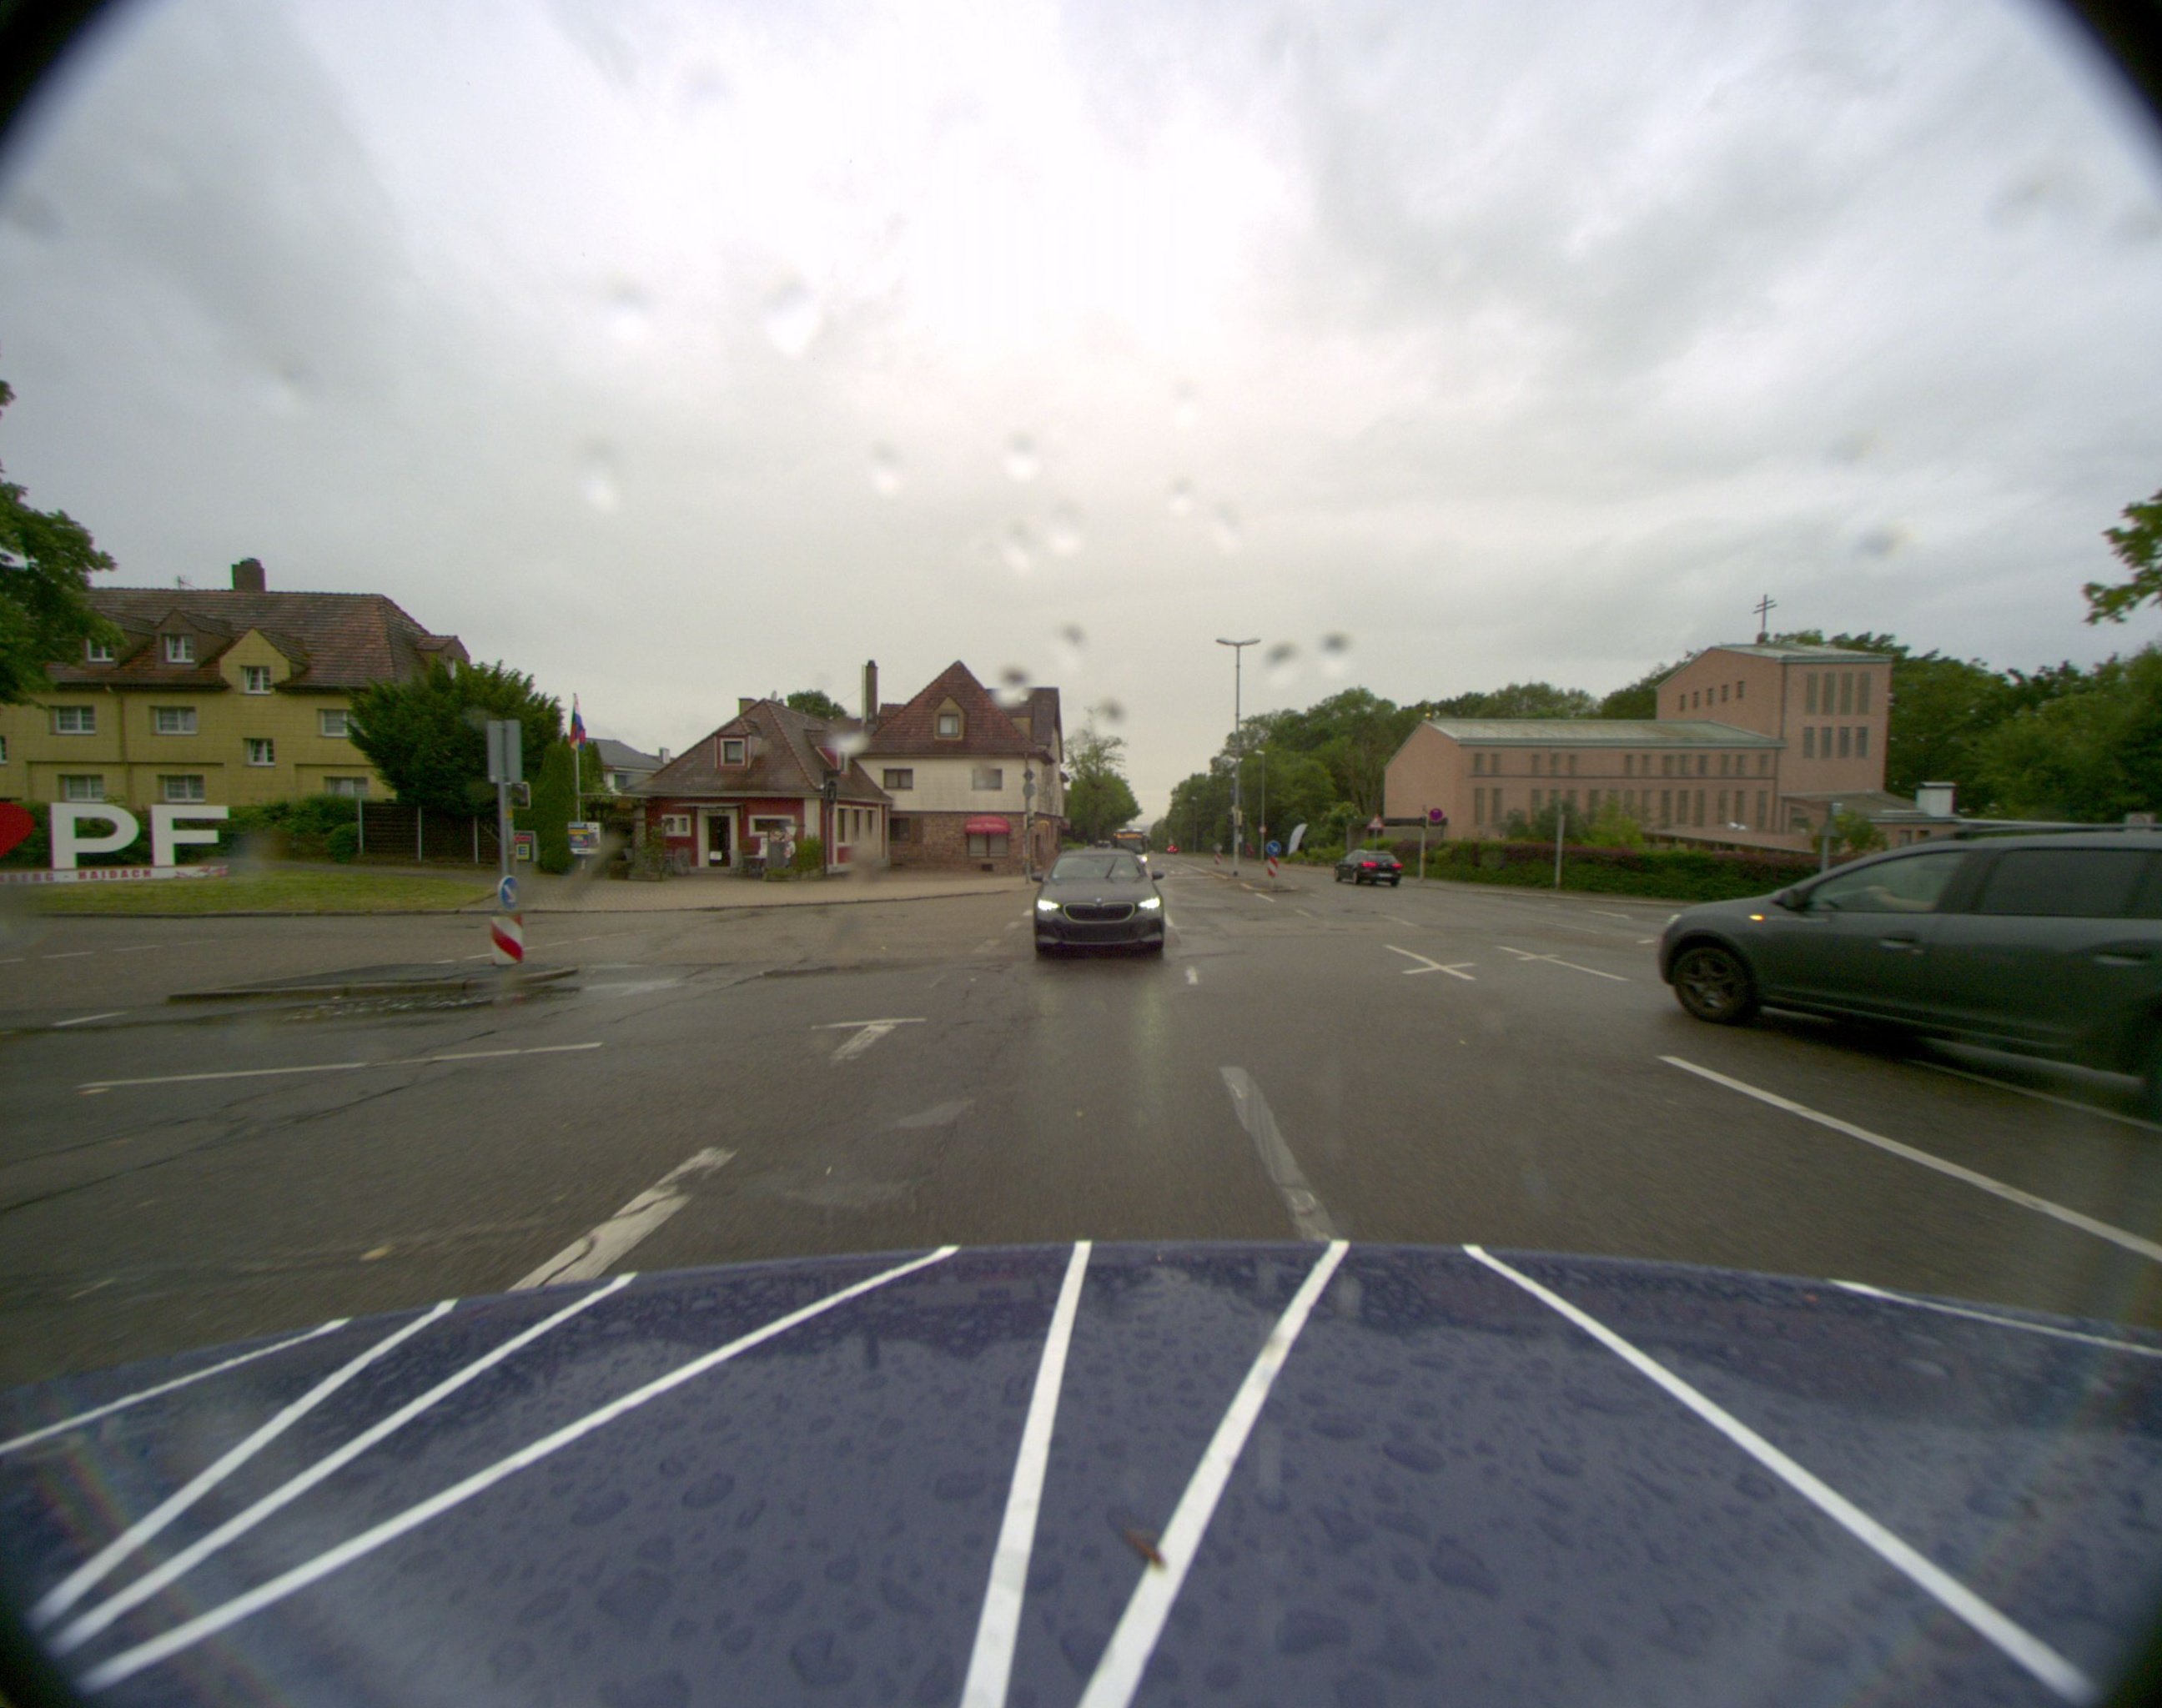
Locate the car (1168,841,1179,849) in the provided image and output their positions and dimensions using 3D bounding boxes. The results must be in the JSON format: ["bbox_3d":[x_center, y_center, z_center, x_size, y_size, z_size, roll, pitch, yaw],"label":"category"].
[{"bbox_3d":[20.295,-2.014,166.582,1.913,1.582,4.317,-1,1,2],"label":"car"}]

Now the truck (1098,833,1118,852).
[{"bbox_3d":[3.275,-1.349,90.202,1.997,2.184,5.757,1,1,6],"label":"truck"}]

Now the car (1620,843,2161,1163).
[{"bbox_3d":[6.116,0.727,4.762,1.905,1.568,4.499,0,0,-8],"label":"car"}]

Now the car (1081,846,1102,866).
[{"bbox_3d":[0.876,0.176,63.020,1.614,1.495,3.757,-2,0,2],"label":"car"}]

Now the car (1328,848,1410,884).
[{"bbox_3d":[11.995,0.453,31.959,1.913,1.419,4.416,0,0,2],"label":"car"}]

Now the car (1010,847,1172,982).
[{"bbox_3d":[0.300,0.716,11.263,1.882,1.520,4.317,-2,1,5],"label":"car"}]

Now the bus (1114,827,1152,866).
[{"bbox_3d":[4.360,-0.712,61.939,2.766,2.858,9.405,-2,1,6],"label":"bus"}]
